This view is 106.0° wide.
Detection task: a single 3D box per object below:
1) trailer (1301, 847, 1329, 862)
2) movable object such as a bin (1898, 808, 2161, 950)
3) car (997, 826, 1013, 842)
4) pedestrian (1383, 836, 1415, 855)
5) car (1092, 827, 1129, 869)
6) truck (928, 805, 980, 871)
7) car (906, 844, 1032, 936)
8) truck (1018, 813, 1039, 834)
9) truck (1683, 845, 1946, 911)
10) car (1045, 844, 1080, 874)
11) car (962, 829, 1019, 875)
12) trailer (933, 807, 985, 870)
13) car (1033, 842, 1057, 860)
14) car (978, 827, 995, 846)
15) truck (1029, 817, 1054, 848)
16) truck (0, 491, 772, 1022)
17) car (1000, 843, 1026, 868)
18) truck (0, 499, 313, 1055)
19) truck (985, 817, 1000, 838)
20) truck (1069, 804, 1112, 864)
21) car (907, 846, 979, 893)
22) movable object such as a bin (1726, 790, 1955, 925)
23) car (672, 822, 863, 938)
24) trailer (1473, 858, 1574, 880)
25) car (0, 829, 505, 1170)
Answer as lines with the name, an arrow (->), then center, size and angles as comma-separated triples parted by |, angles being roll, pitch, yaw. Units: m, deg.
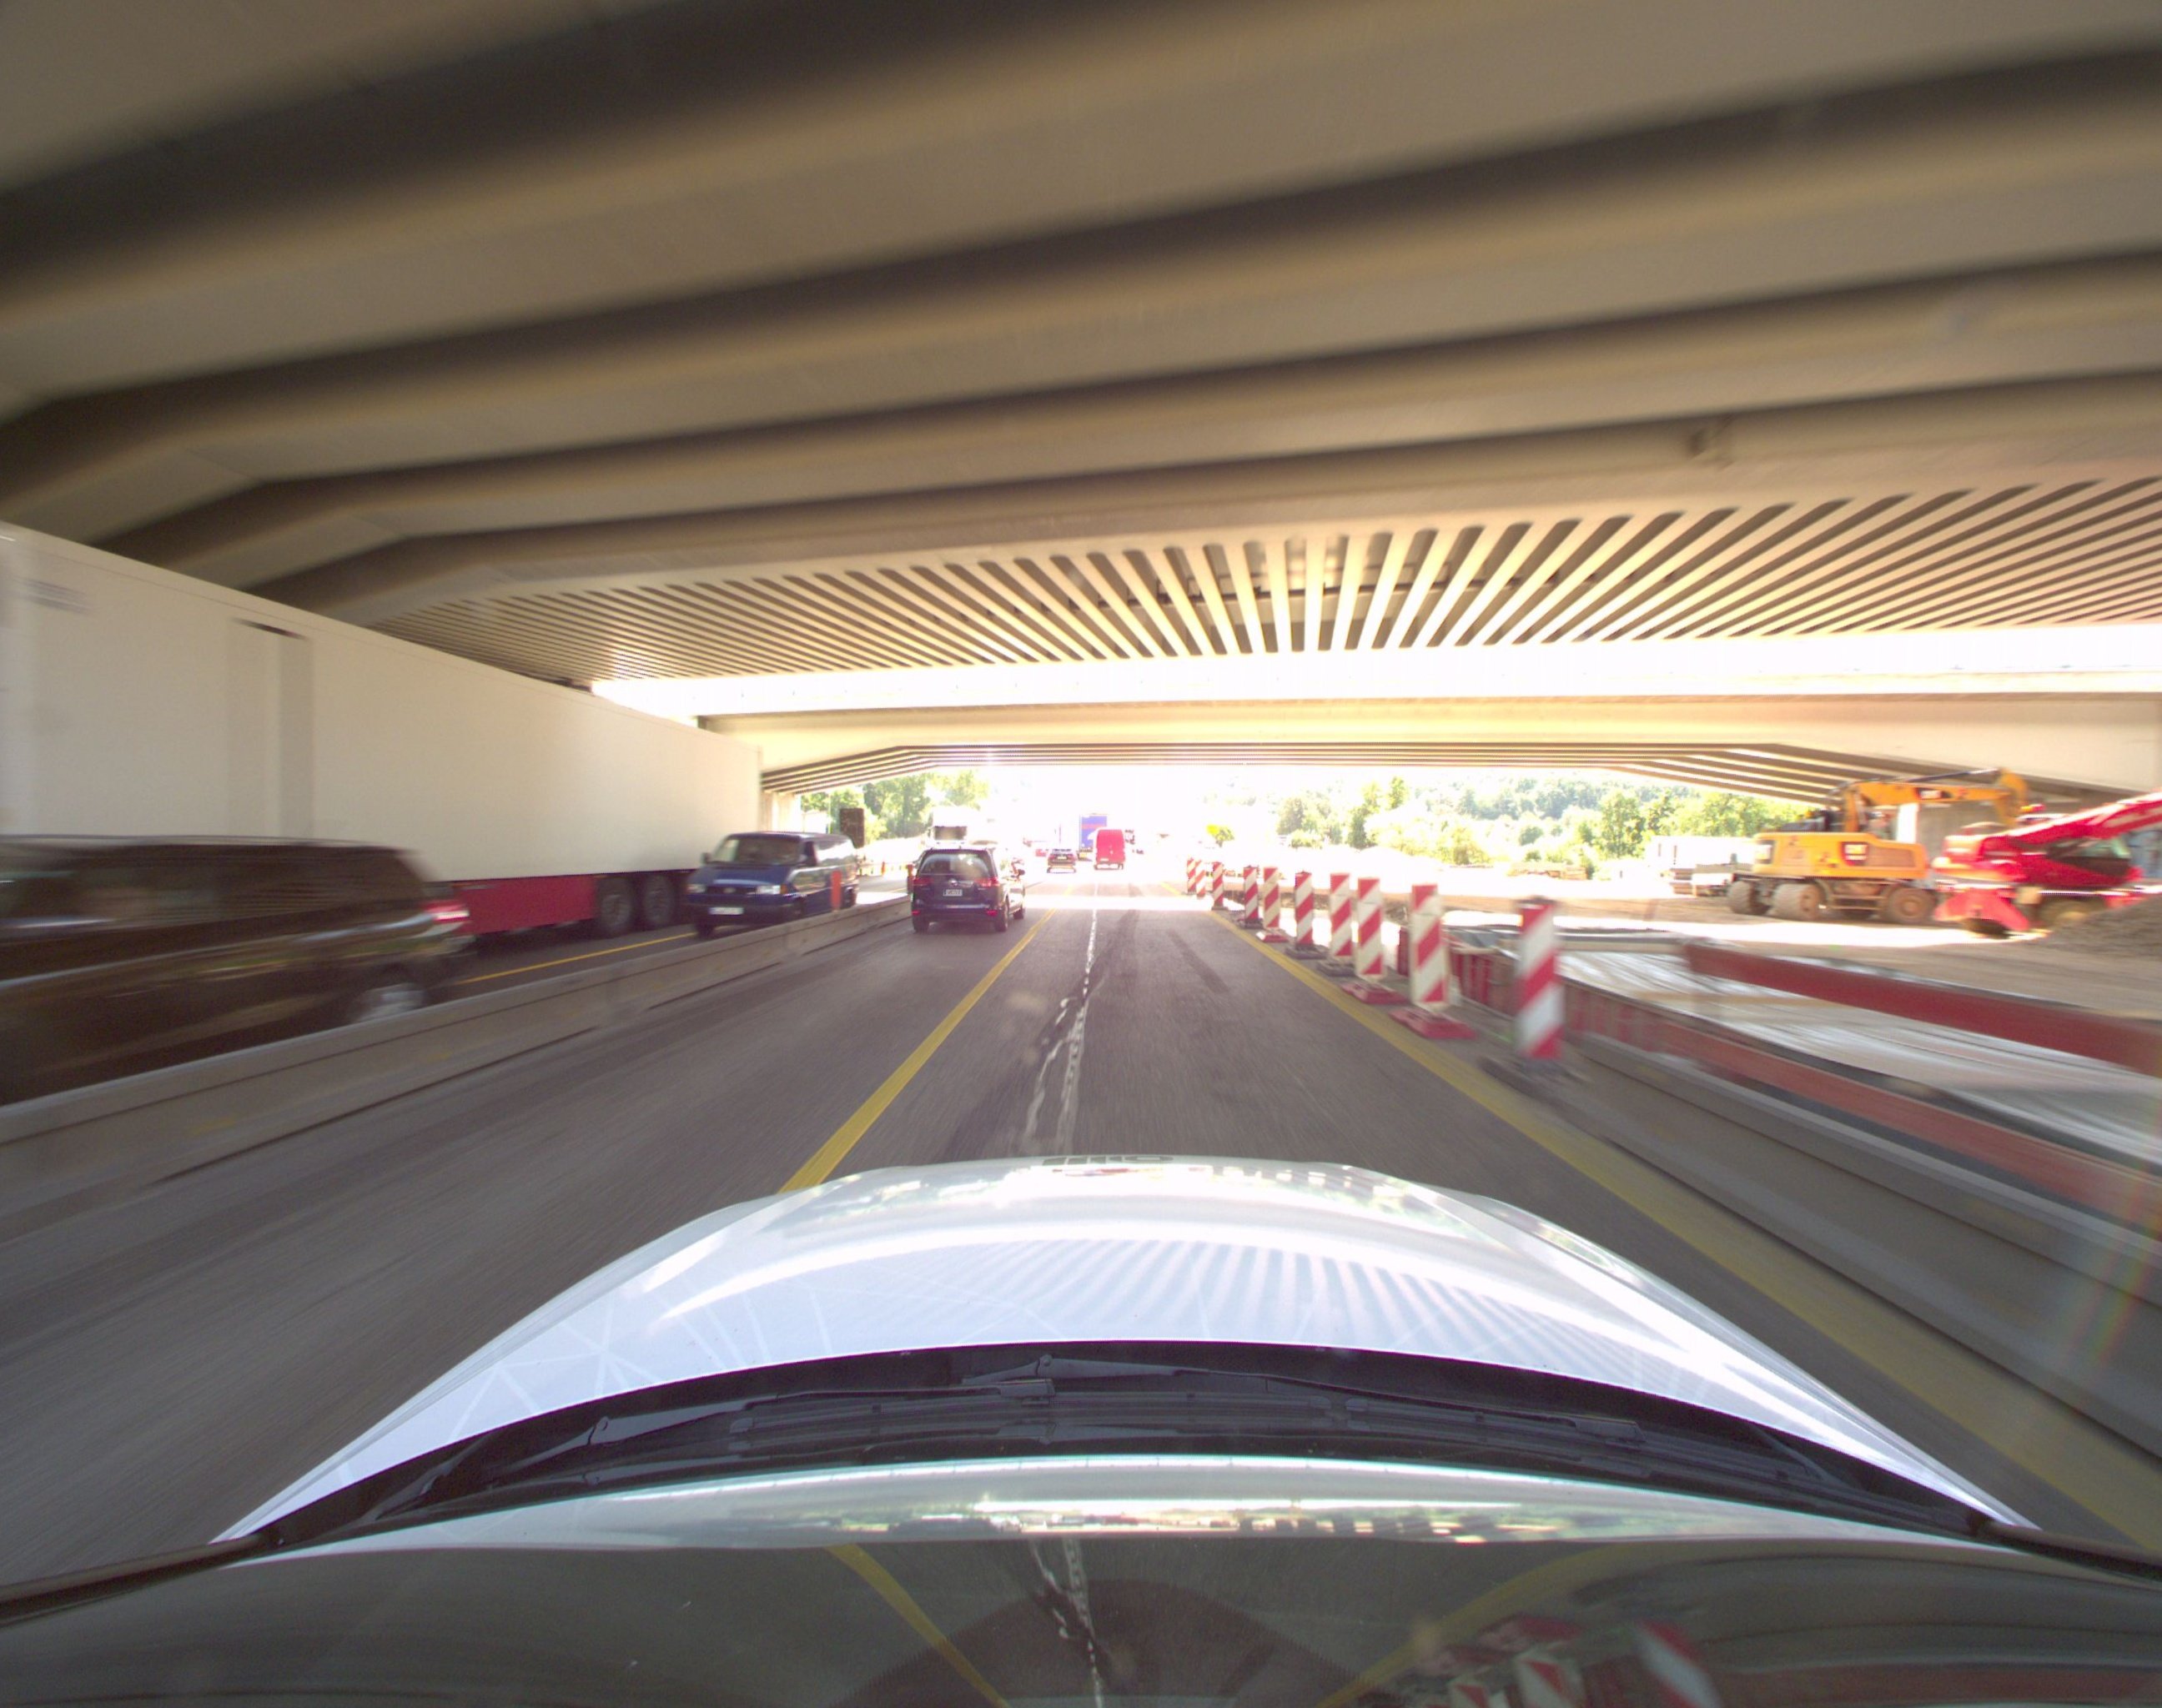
trailer -> 23.962, 0.053, 83.452 | 1.619, 1.486, 3.824 | 1, 1, -1
movable object such as a bin -> 23.098, 0.580, 19.089 | 5.213, 3.056, 2.500 | 1, -1, 6
car -> -11.362, -3.009, 121.503 | 2.261, 2.354, 5.153 | 0, 3, -5
pedestrian -> 34.290, -0.905, 87.938 | 1.986, 2.014, 4.000 | 0, -1, 1
car -> 1.856, -0.332, 53.015 | 2.143, 2.611, 5.436 | 0, -1, 0
truck -> -8.171, -1.027, 52.884 | 2.868, 4.050, 4.878 | 1, 1, -5
car -> -2.148, 0.629, 16.819 | 1.726, 1.635, 4.394 | 0, 0, 4
truck -> -9.589, -5.399, 147.233 | 3.216, 3.360, 8.917 | 0, -1, -7
truck -> 25.162, 0.769, 28.223 | 6.490, 2.073, 2.669 | 1, 1, 5
car -> -1.033, 0.235, 47.452 | 1.827, 1.635, 4.392 | 0, 1, 2
car -> -4.771, -0.111, 43.841 | 1.972, 2.330, 6.064 | 0, 0, 4
trailer -> -8.815, -1.134, 60.472 | 2.872, 4.039, 14.333 | 1, 1, -5
car -> -3.390, -0.311, 75.976 | 1.832, 1.635, 4.096 | 0, 2, -7
car -> -13.054, -2.367, 112.331 | 2.071, 2.503, 6.463 | 0, 0, -9
truck -> -5.201, -2.900, 106.934 | 3.176, 3.988, 6.733 | 0, 2, -4
truck -> -9.243, -0.690, 13.355 | 2.758, 4.314, 13.495 | 0, -1, 2
car -> -4.789, 0.054, 57.445 | 1.743, 1.670, 4.073 | 0, 1, -4
truck -> -9.432, -0.579, 5.877 | 2.649, 4.171, 5.189 | 0, -1, 2
truck -> -18.527, -5.629, 170.495 | 2.618, 4.269, 4.729 | 1, 2, -2
truck -> 0.761, -1.828, 70.535 | 2.941, 4.944, 6.728 | 0, 2, -6
car -> -4.949, 0.516, 29.823 | 1.741, 1.609, 4.144 | 0, 0, 3
movable object such as a bin -> 21.413, 0.087, 23.230 | 3.854, 3.543, 2.913 | 1, -1, 13
car -> -5.881, 0.427, 16.022 | 1.794, 1.932, 4.968 | 0, 0, 0
trailer -> 25.462, 0.861, 47.002 | 4.695, 1.219, 2.056 | 0, -1, 1
car -> -5.941, 0.665, 4.823 | 1.715, 1.609, 4.526 | 1, 1, 2
